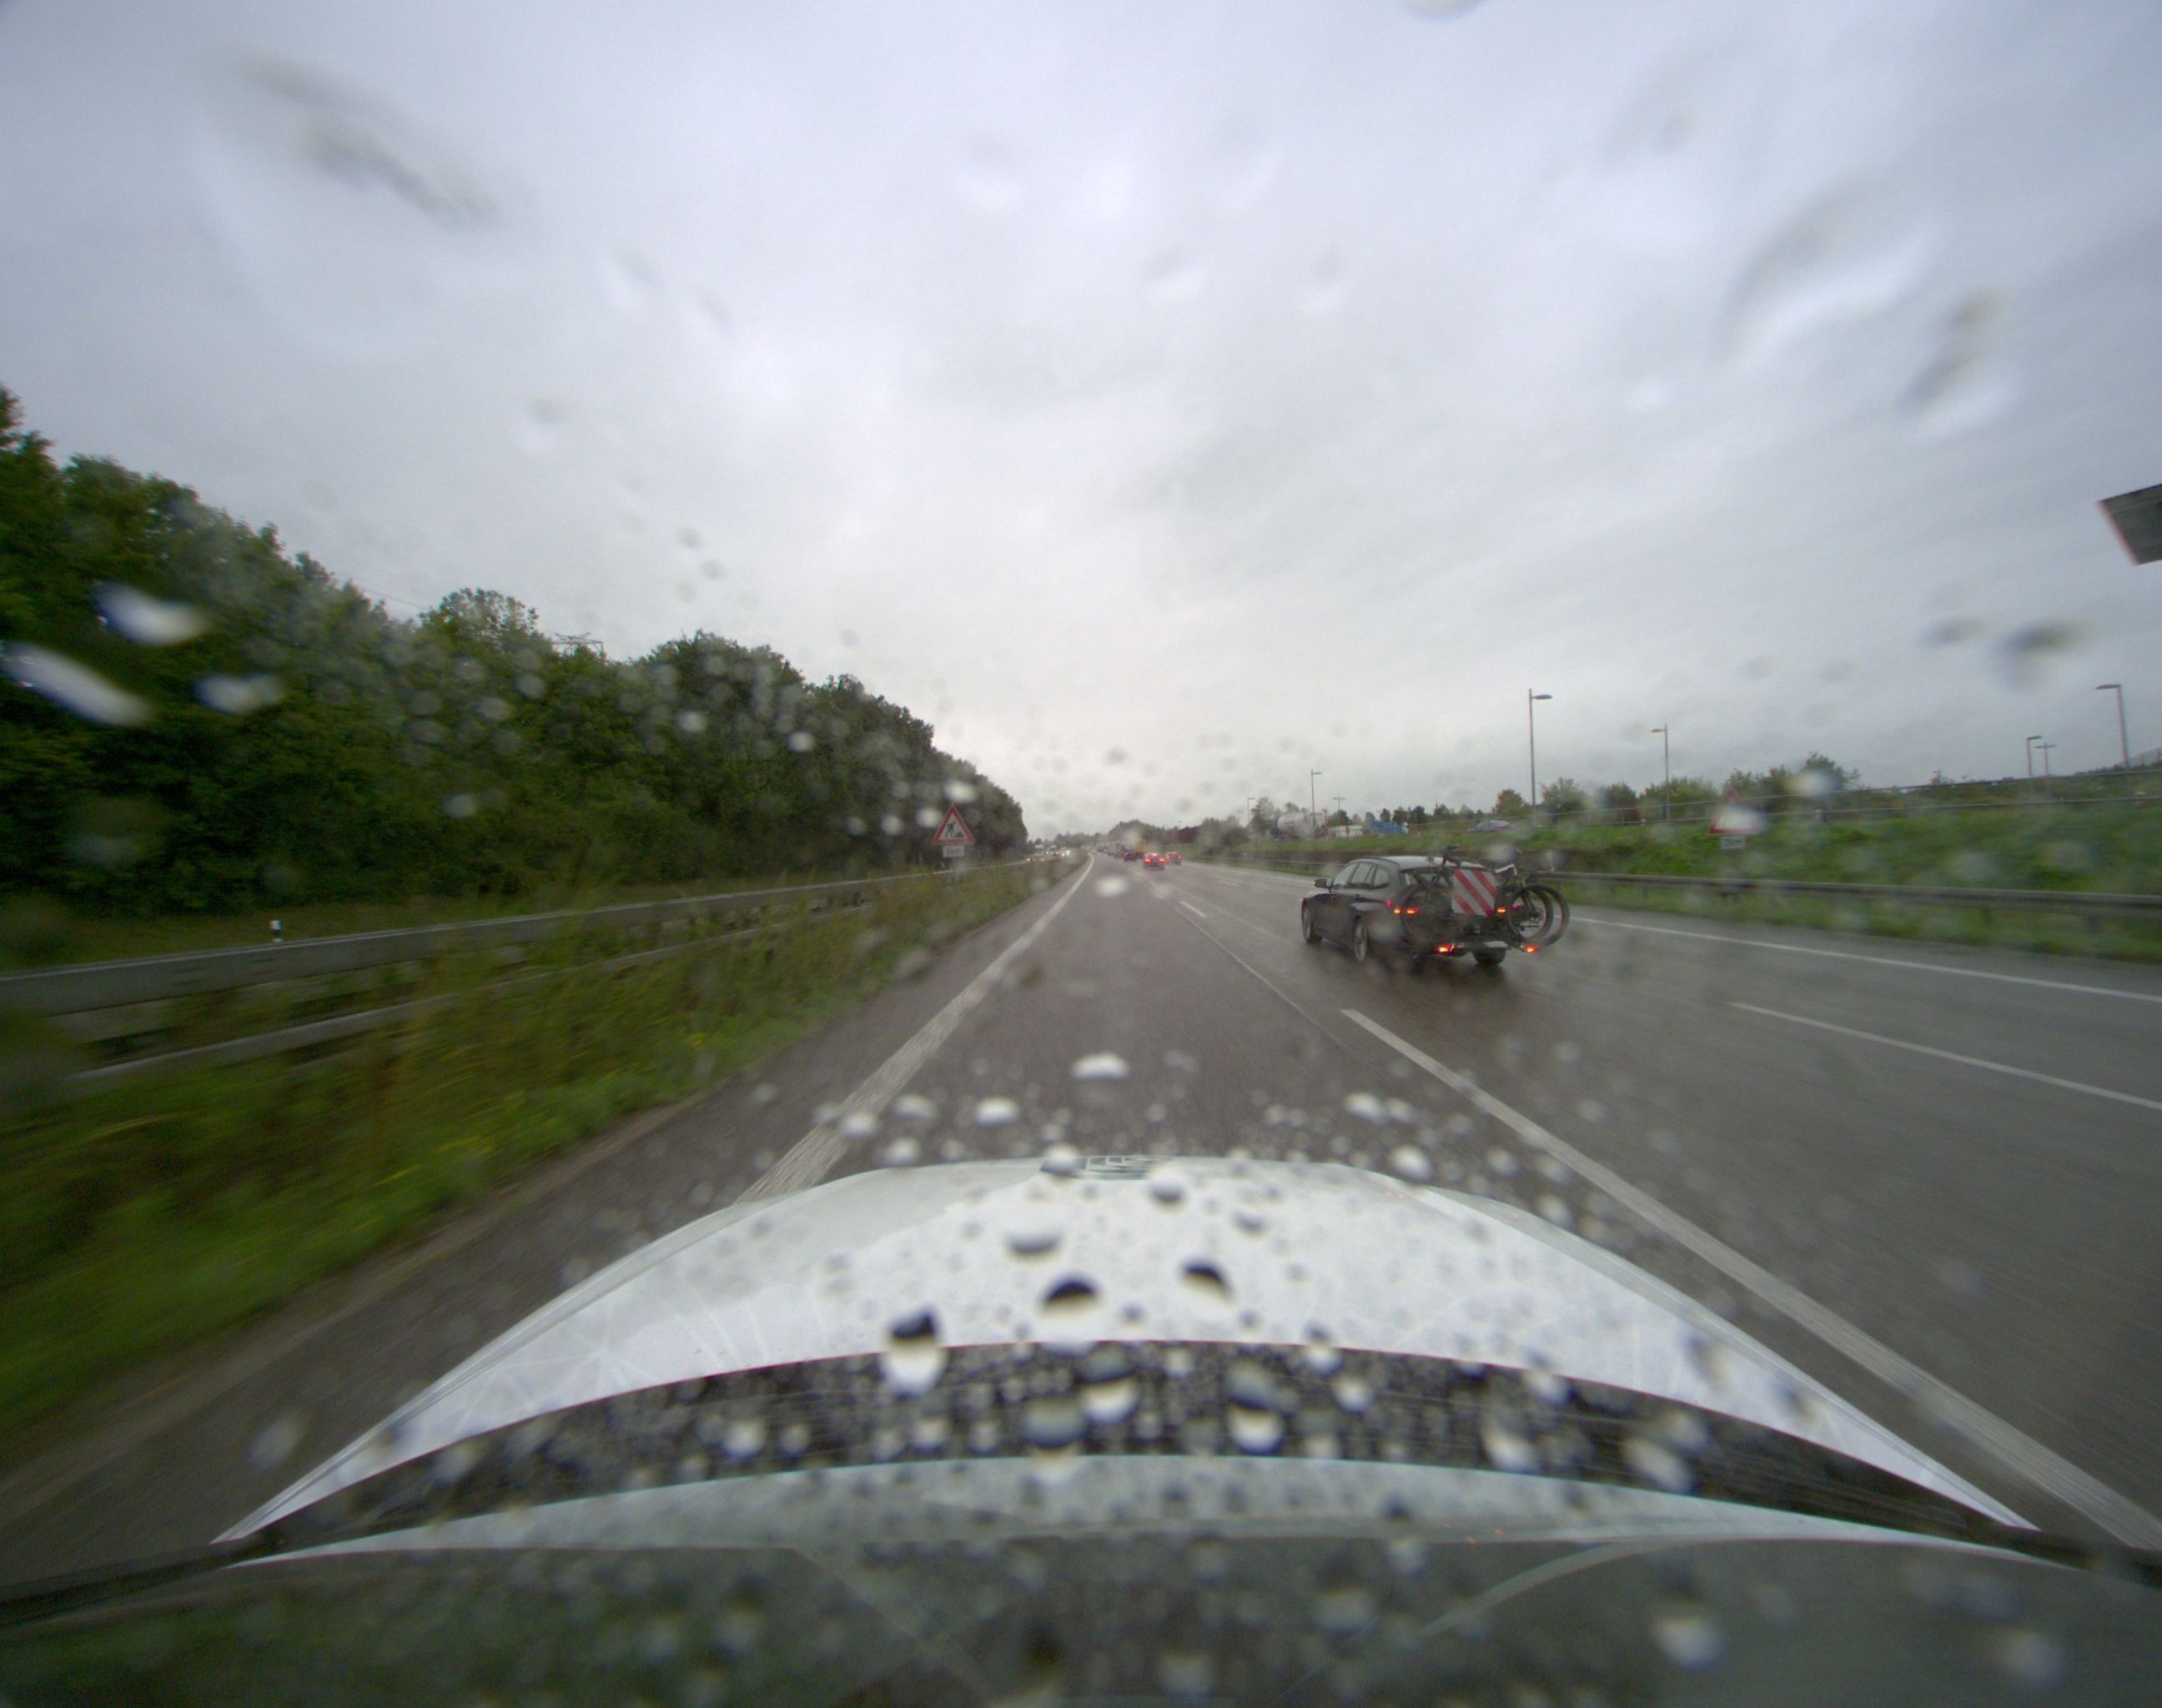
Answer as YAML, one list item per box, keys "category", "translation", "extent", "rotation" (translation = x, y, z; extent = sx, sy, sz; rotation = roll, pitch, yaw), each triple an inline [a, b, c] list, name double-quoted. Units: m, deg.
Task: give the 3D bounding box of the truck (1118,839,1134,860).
- category: "truck"
  translation: [12.994, -1.292, 237.577]
  extent: [4.271, 5.568, 12.244]
  rotation: [-3, 0, 2]

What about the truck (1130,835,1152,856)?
- category: "truck"
  translation: [12.610, -1.760, 171.917]
  extent: [3.909, 3.981, 12.244]
  rotation: [-3, 0, 2]

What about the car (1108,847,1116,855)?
- category: "car"
  translation: [8.477, -0.799, 220.954]
  extent: [1.986, 2.205, 4.002]
  rotation: [-3, 0, 2]

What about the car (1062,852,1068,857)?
- category: "car"
  translation: [-4.580, 0.133, 232.721]
  extent: [1.598, 1.583, 3.573]
  rotation: [-3, 0, 2]

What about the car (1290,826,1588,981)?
- category: "car"
  translation: [4.618, 0.587, 11.677]
  extent: [2.049, 1.671, 5.525]
  rotation: [-1, -1, 3]

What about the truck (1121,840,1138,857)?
- category: "truck"
  translation: [12.208, -1.275, 207.089]
  extent: [3.909, 3.981, 12.244]
  rotation: [-3, 0, 2]

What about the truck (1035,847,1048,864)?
- category: "truck"
  translation: [-11.823, 0.491, 243.567]
  extent: [2.979, 4.936, 9.486]
  rotation: [-3, 0, 2]

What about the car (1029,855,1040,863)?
- category: "car"
  translation: [-8.766, 0.982, 153.338]
  extent: [1.672, 1.397, 4.001]
  rotation: [-2, 0, 2]

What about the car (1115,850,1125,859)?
- category: "car"
  translation: [7.832, 0.056, 163.076]
  extent: [1.986, 1.628, 4.002]
  rotation: [-3, 0, 2]

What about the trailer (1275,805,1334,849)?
- category: "trailer"
  translation: [23.873, -2.760, 87.691]
  extent: [2.974, 4.156, 12.961]
  rotation: [-3, 0, 2]

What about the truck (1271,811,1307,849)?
- category: "truck"
  translation: [24.116, -2.737, 94.733]
  extent: [2.938, 4.145, 4.925]
  rotation: [-3, 0, 2]

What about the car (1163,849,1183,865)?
- category: "car"
  translation: [10.738, 0.337, 95.262]
  extent: [1.986, 1.761, 4.002]
  rotation: [-3, 0, 2]

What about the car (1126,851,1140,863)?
- category: "car"
  translation: [7.963, 0.471, 124.543]
  extent: [1.986, 1.628, 4.002]
  rotation: [-3, 0, 2]

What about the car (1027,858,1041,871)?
- category: "car"
  translation: [-7.022, 1.590, 121.534]
  extent: [1.598, 1.884, 3.573]
  rotation: [-3, 0, 2]

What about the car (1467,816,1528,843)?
- category: "car"
  translation: [27.726, -1.593, 54.359]
  extent: [1.784, 1.624, 3.994]
  rotation: [-3, 0, -4]

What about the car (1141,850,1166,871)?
- category: "car"
  translation: [6.438, 0.556, 72.583]
  extent: [1.986, 1.761, 4.002]
  rotation: [-3, 0, 2]
